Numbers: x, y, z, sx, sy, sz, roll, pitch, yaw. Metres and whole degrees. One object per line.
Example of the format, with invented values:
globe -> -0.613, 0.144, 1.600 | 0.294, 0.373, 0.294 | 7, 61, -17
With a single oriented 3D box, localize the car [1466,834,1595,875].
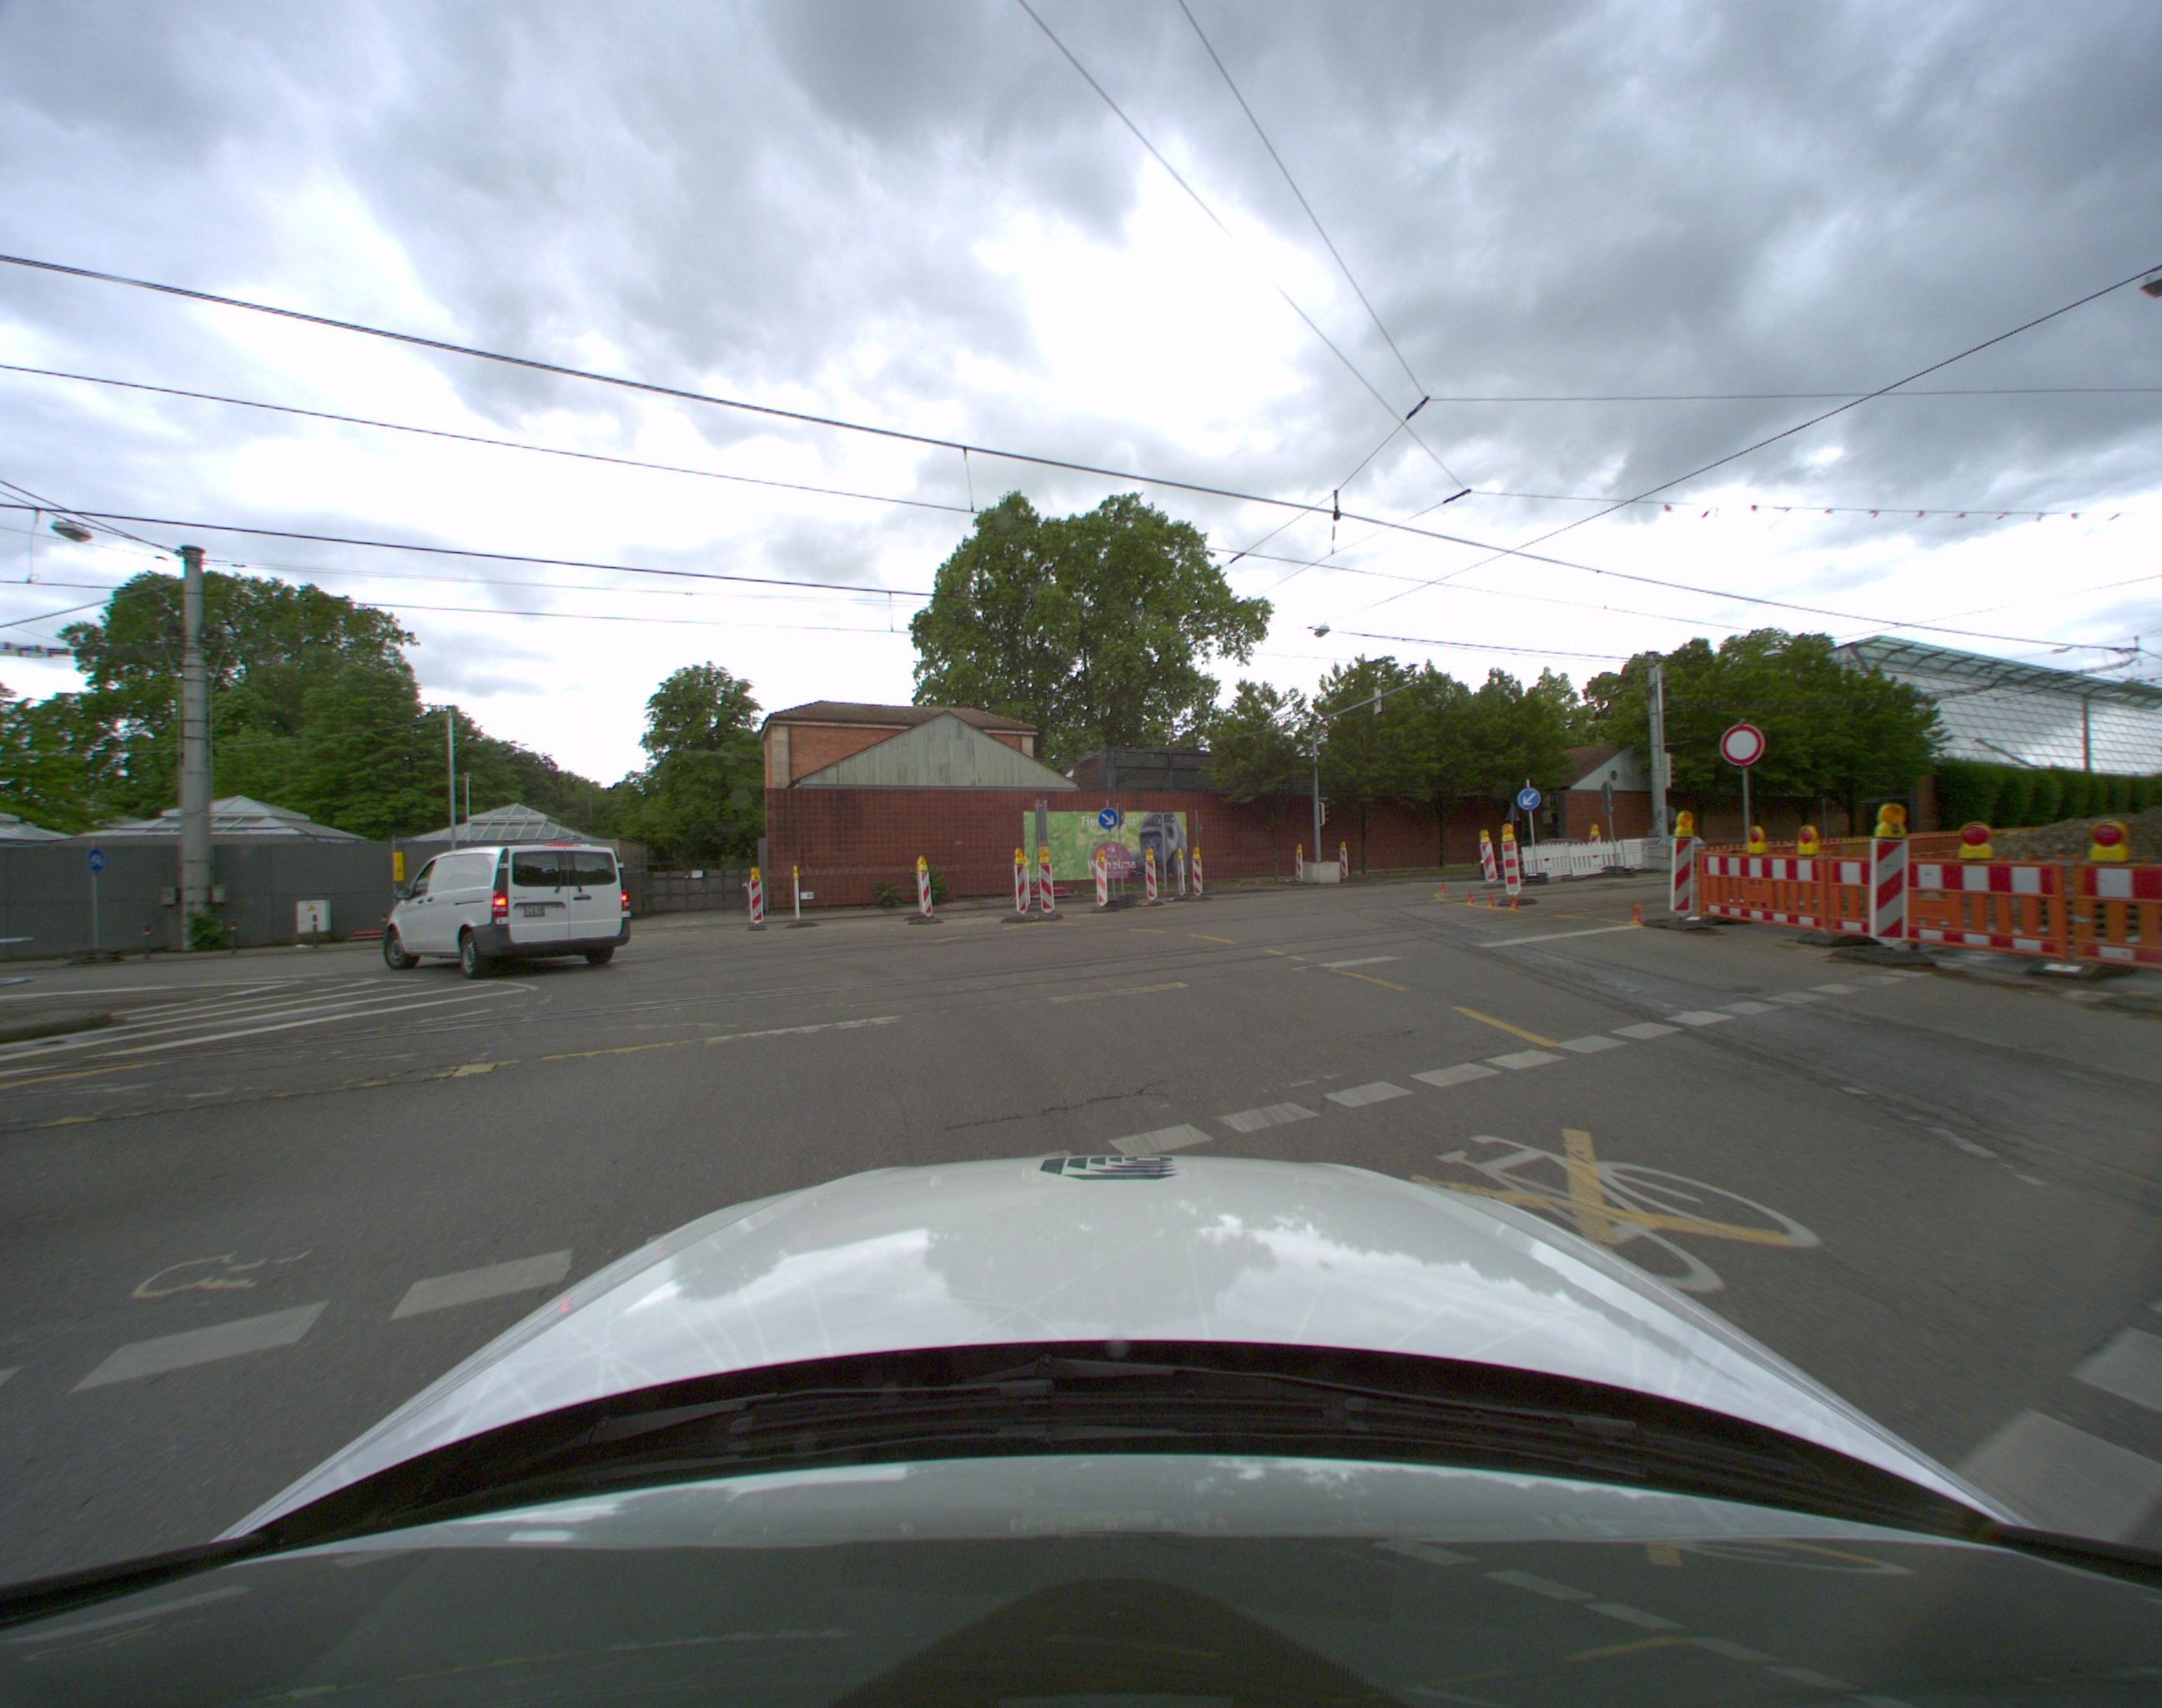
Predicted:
car -> 17.776, 0.016, 32.224 | 4.455, 1.443, 1.869 | -2, -2, -18

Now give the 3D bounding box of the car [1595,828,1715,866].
car -> 24.280, -0.282, 34.468 | 4.455, 1.443, 1.792 | -2, -2, -18

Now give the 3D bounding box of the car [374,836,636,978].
car -> -9.296, 0.847, 13.020 | 4.640, 1.901, 1.936 | -4, -2, 35

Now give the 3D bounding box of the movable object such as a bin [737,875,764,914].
movable object such as a bin -> -12.162, 1.482, 30.008 | 0.852, 1.340, 0.795 | -3, -1, -23
